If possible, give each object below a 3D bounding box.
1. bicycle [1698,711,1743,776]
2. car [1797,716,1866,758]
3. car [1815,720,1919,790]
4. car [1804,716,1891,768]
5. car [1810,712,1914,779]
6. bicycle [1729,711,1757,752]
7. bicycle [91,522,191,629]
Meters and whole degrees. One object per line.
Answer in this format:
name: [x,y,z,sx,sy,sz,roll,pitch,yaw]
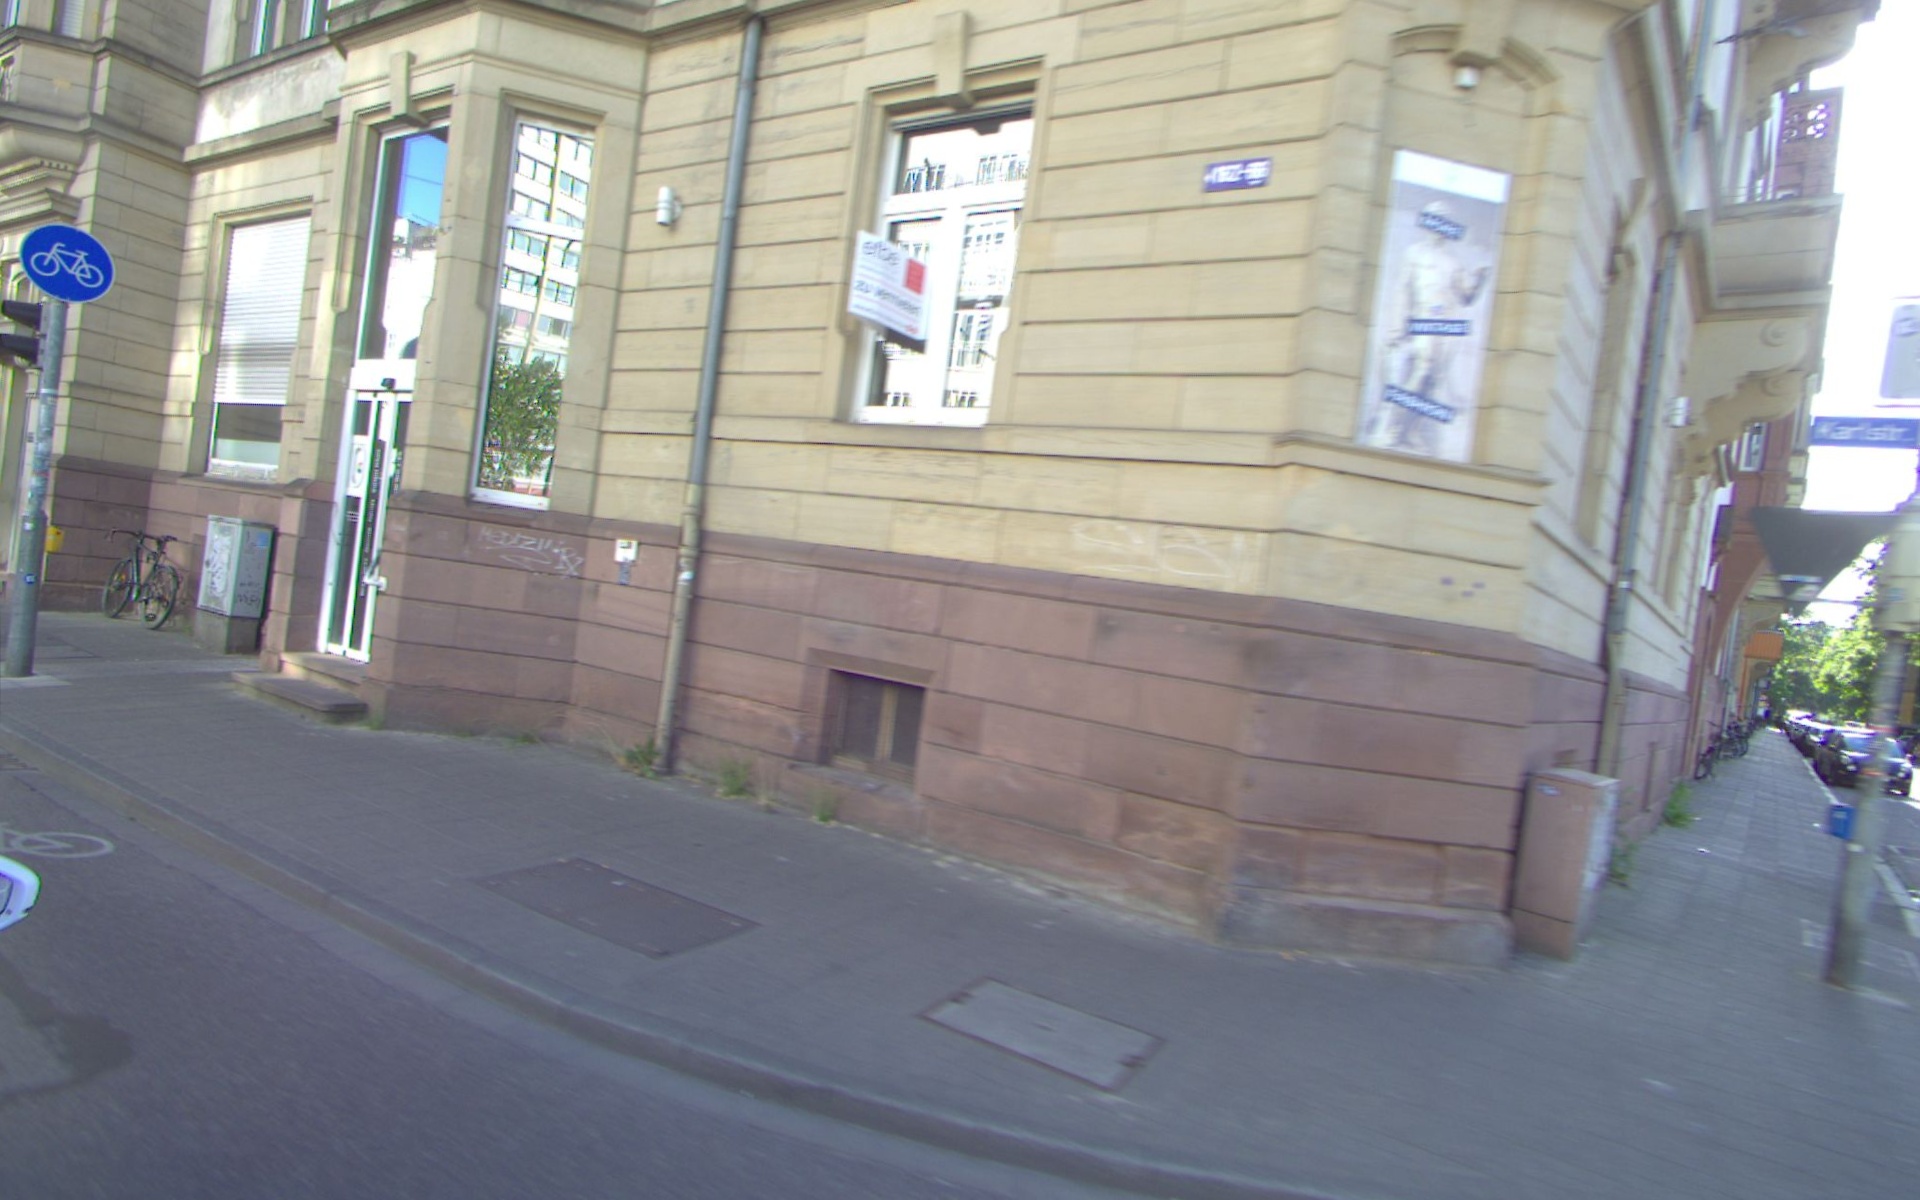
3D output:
bicycle: [15.656,2.925,20.694,0.518,1.188,2.184,8,0,40]
car: [38.606,6.060,44.673,1.865,1.415,3.987,10,1,37]
car: [25.077,4.219,27.751,1.865,1.415,3.987,10,1,37]
car: [31.659,5.030,35.989,1.865,1.415,3.987,10,1,37]
car: [27.985,4.459,31.329,1.865,1.587,3.987,10,1,37]
bicycle: [24.711,4.127,31.728,0.518,1.188,2.184,8,0,40]
bicycle: [-9.358,-0.296,11.473,1.740,1.064,0.256,6,-1,33]
